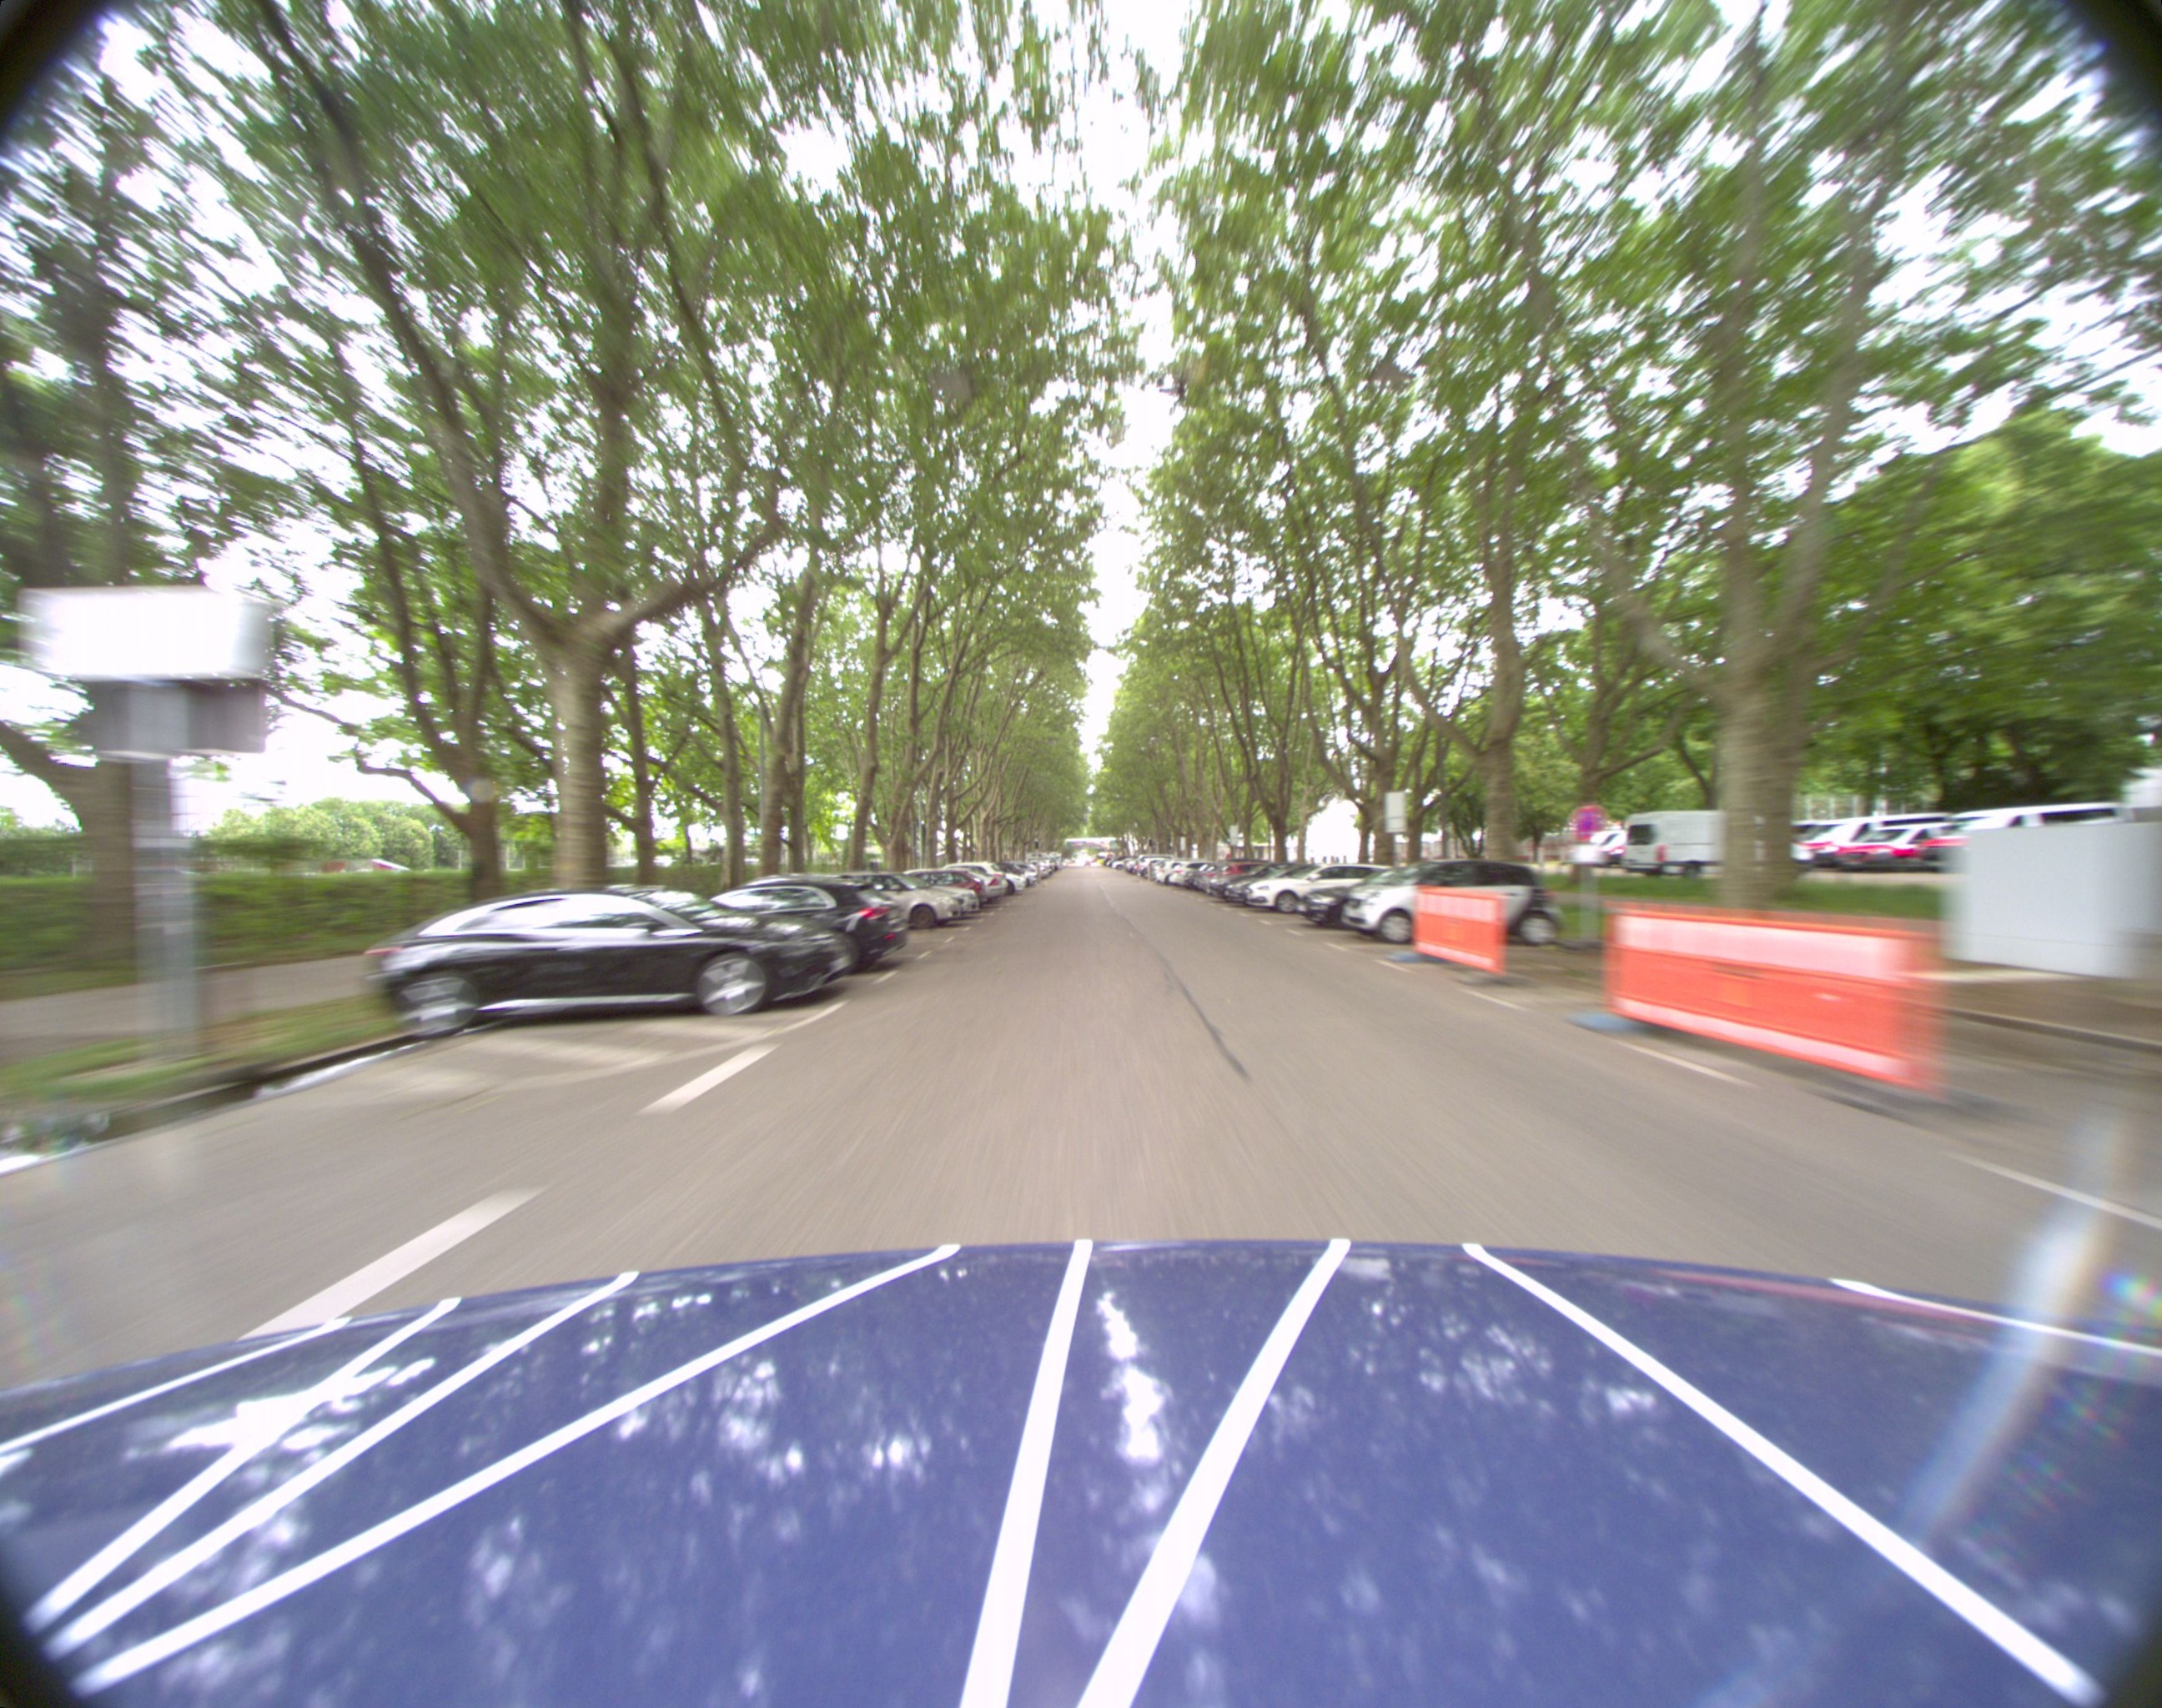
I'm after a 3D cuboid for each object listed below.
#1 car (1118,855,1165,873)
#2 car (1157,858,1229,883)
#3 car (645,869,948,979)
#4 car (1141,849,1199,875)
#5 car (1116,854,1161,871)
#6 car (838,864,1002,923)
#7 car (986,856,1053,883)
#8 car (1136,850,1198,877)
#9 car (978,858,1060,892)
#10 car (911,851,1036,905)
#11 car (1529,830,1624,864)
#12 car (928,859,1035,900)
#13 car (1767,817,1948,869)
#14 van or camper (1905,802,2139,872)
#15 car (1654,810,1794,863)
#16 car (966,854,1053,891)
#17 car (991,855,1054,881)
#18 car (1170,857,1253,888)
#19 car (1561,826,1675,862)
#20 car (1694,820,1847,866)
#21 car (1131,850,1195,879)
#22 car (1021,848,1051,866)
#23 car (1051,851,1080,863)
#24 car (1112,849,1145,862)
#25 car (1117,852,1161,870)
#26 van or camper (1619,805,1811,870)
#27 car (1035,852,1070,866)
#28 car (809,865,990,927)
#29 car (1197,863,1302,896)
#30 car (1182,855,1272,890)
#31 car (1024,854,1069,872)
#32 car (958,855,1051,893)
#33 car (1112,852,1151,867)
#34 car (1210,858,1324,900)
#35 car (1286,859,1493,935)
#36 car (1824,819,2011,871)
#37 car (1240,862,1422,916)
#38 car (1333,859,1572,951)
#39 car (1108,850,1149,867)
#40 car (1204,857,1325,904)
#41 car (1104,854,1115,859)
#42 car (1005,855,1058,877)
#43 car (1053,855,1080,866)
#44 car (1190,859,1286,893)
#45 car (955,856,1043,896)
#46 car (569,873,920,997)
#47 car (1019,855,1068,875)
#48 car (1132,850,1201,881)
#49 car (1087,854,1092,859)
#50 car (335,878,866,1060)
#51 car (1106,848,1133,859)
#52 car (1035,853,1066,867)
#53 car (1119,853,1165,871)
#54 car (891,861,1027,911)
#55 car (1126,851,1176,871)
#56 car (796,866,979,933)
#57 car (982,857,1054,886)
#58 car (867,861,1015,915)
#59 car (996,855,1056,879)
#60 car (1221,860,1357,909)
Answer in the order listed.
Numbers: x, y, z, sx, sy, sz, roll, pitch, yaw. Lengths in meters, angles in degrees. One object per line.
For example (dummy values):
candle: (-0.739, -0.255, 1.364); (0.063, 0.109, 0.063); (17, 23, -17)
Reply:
car: (5.448, 0.877, 69.002); (3.997, 1.422, 2.001); (-2, -2, -1)
car: (6.495, 0.968, 44.436); (3.996, 1.422, 2.001); (0, -1, 2)
car: (-4.980, 1.203, 13.857); (4.676, 1.514, 2.000); (-4, 0, -2)
car: (7.150, 0.619, 61.557); (4.492, 1.740, 2.001); (-4, 0, 5)
car: (5.571, 0.835, 74.157); (3.999, 1.422, 2.000); (-2, -2, -6)
car: (-5.090, 1.235, 24.444); (4.673, 1.514, 2.001); (-4, 0, 6)
car: (-4.571, 1.148, 57.021); (4.674, 1.740, 2.001); (-4, 0, 5)
car: (6.538, 0.684, 58.113); (4.492, 1.740, 2.001); (-4, 0, 5)
car: (-3.761, 1.270, 46.653); (4.674, 1.740, 2.001); (-4, 0, 5)
car: (-4.423, 0.979, 31.692); (4.674, 1.891, 2.001); (-4, 0, 5)
car: (34.278, -0.476, 52.622); (5.266, 2.130, 1.999); (-2, 1, -2)
car: (-4.749, 1.221, 36.632); (4.674, 1.602, 2.001); (-4, 0, 5)
car: (33.731, -0.474, 33.125); (5.467, 1.986, 2.475); (-2, 1, -2)
van or camper: (34.480, -0.600, 27.994); (5.719, 2.242, 2.329); (-2, 1, 0)
car: (34.184, -0.921, 40.517); (5.467, 2.502, 2.393); (-2, 1, -2)
car: (-4.102, 1.057, 44.178); (4.674, 1.740, 2.001); (-4, 0, 5)
car: (-4.663, 1.121, 60.910); (4.674, 1.740, 2.001); (-4, 0, 5)
car: (6.668, 0.951, 39.093); (4.039, 1.518, 1.800); (0, -1, 2)
car: (33.798, -0.653, 47.928); (5.467, 2.009, 2.393); (-2, 1, -2)
car: (34.221, -0.542, 37.830); (5.467, 2.009, 2.393); (-2, 1, -2)
car: (6.010, 0.753, 55.852); (4.492, 1.740, 2.001); (-4, 0, 5)
car: (-6.339, 0.435, 106.659); (3.997, 2.274, 2.000); (-2, 1, 0)
car: (-2.735, 0.477, 131.759); (4.919, 1.817, 2.000); (-2, -2, -3)
car: (7.492, 0.226, 120.234); (4.919, 1.817, 2.000); (-2, -2, -3)
car: (6.803, 0.841, 90.069); (4.919, 1.817, 2.000); (-2, -2, -3)
van or camper: (23.363, -0.597, 28.150); (5.299, 2.087, 2.244); (-2, 1, -2)
car: (-4.206, 0.786, 111.511); (4.919, 1.817, 2.000); (-2, -2, -3)
car: (-5.194, 1.191, 22.122); (4.673, 1.514, 1.905); (-3, 0, 6)
car: (6.933, 1.028, 31.574); (3.996, 1.302, 2.001); (0, -1, 2)
car: (7.004, 0.899, 36.864); (4.028, 1.619, 2.001); (0, -1, 2)
car: (-3.826, 1.007, 84.594); (4.674, 1.740, 2.001); (-4, 0, 5)
car: (-4.186, 1.081, 41.988); (4.674, 1.740, 2.001); (-4, 0, 5)
car: (6.761, 0.719, 101.989); (4.919, 1.817, 2.000); (-2, -2, -3)
car: (7.106, 0.933, 29.364); (3.996, 1.505, 1.874); (0, 0, 2)
car: (6.647, 0.902, 16.683); (3.847, 1.529, 1.676); (0, 0, 2)
car: (33.594, -0.368, 30.614); (5.467, 1.839, 1.999); (-2, 1, -2)
car: (7.088, 0.962, 21.952); (4.575, 1.425, 2.090); (0, 0, 2)
car: (6.801, 0.897, 14.220); (3.565, 1.569, 1.847); (0, 0, 2)
car: (5.858, 0.576, 94.136); (4.919, 1.817, 2.000); (-2, -2, -3)
car: (6.360, 0.897, 26.691); (3.847, 1.560, 1.847); (0, 0, 2)
car: (6.124, 0.549, 164.953); (2.307, 0.919, 1.132); (-2, -2, -1)
car: (-4.665, 1.119, 71.767); (4.674, 1.740, 2.001); (-4, 0, 5)
car: (-2.702, 1.144, 141.463); (4.919, 1.817, 2.000); (-2, -2, -3)
car: (7.033, 0.978, 34.383); (3.996, 1.462, 2.001); (0, -1, 2)
car: (-4.213, 1.116, 39.388); (4.116, 1.740, 2.001); (-4, 0, 5)
car: (-4.864, 1.147, 11.549); (4.383, 1.469, 1.999); (-2, 1, -2)
car: (-3.815, 1.096, 77.989); (4.674, 1.740, 2.001); (-4, 0, 5)
car: (5.834, 0.780, 51.888); (4.492, 1.740, 2.001); (-4, 0, 5)
car: (1.975, 0.550, 175.837); (1.131, 0.918, 2.309); (-2, -2, -1)
car: (-5.264, 1.220, 8.918); (4.832, 1.497, 2.000); (-4, 0, -2)
car: (7.374, -0.034, 145.082); (4.919, 1.817, 2.000); (-2, -2, -3)
car: (-3.989, 0.737, 99.828); (3.998, 1.641, 1.999); (-2, 1, -4)
car: (6.969, 0.927, 87.124); (4.919, 1.817, 2.000); (-2, -2, -3)
car: (-4.606, 1.206, 29.106); (4.674, 1.514, 2.001); (-4, 0, 5)
car: (7.226, 0.696, 78.941); (4.919, 1.817, 2.000); (-2, -2, -3)
car: (-4.875, 1.142, 19.386); (4.097, 1.516, 1.825); (-2, 0, 9)
car: (-4.423, 1.217, 53.665); (4.674, 1.740, 2.001); (-4, 0, 5)
car: (-4.850, 1.181, 26.740); (4.674, 1.514, 2.001); (-4, 0, 5)
car: (-4.599, 1.075, 63.660); (4.674, 1.740, 2.001); (-4, 0, 5)
car: (6.540, 0.943, 24.189); (3.847, 1.466, 1.847); (0, 0, 2)
